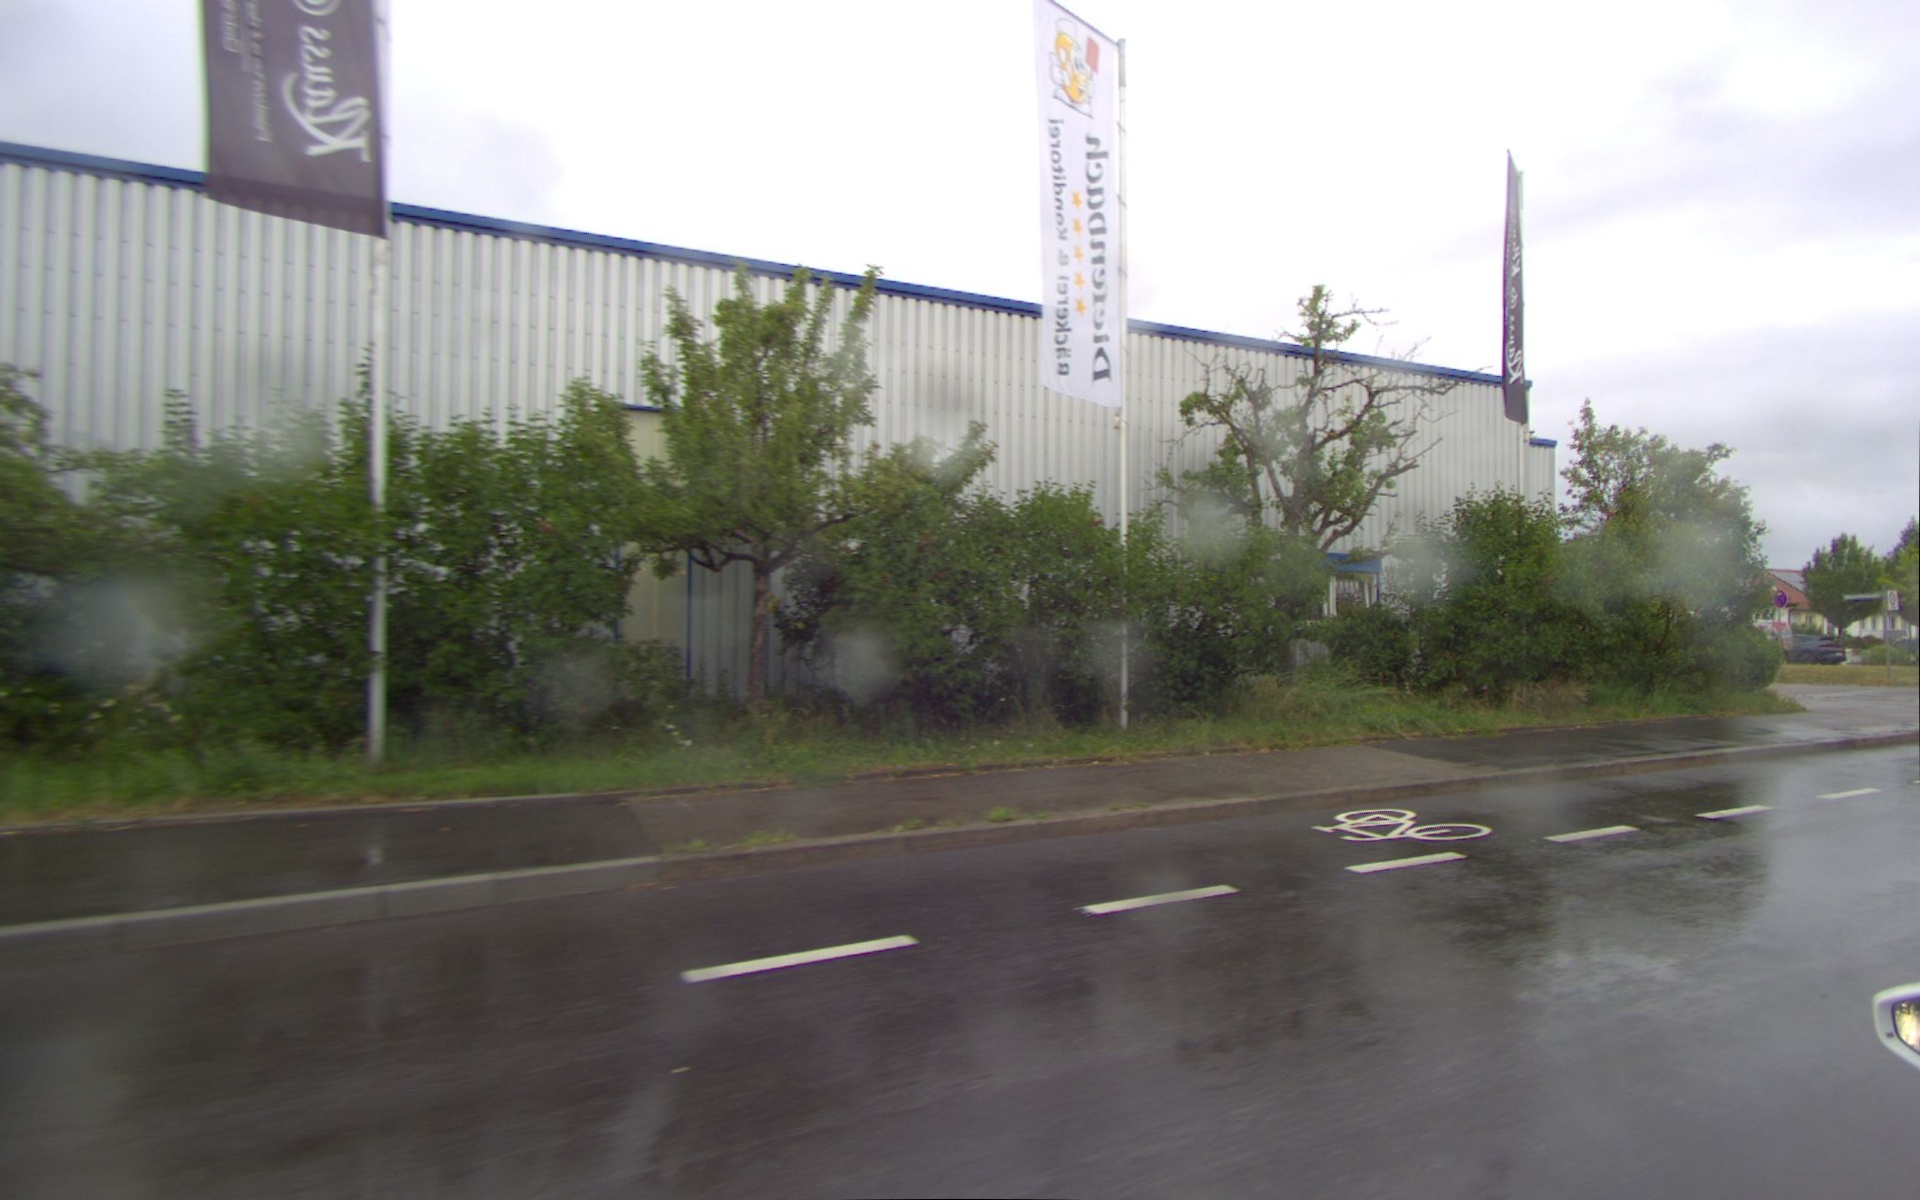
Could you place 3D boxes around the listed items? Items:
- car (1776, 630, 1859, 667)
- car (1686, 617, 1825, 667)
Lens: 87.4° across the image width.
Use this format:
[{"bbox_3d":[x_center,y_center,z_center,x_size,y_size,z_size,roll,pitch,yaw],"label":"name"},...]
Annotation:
[{"bbox_3d":[40.447,2.265,47.368,4.126,1.577,2.100,0,-1,-36],"label":"car"},{"bbox_3d":[31.667,1.634,39.978,5.530,1.846,2.029,0,0,-24],"label":"car"}]
